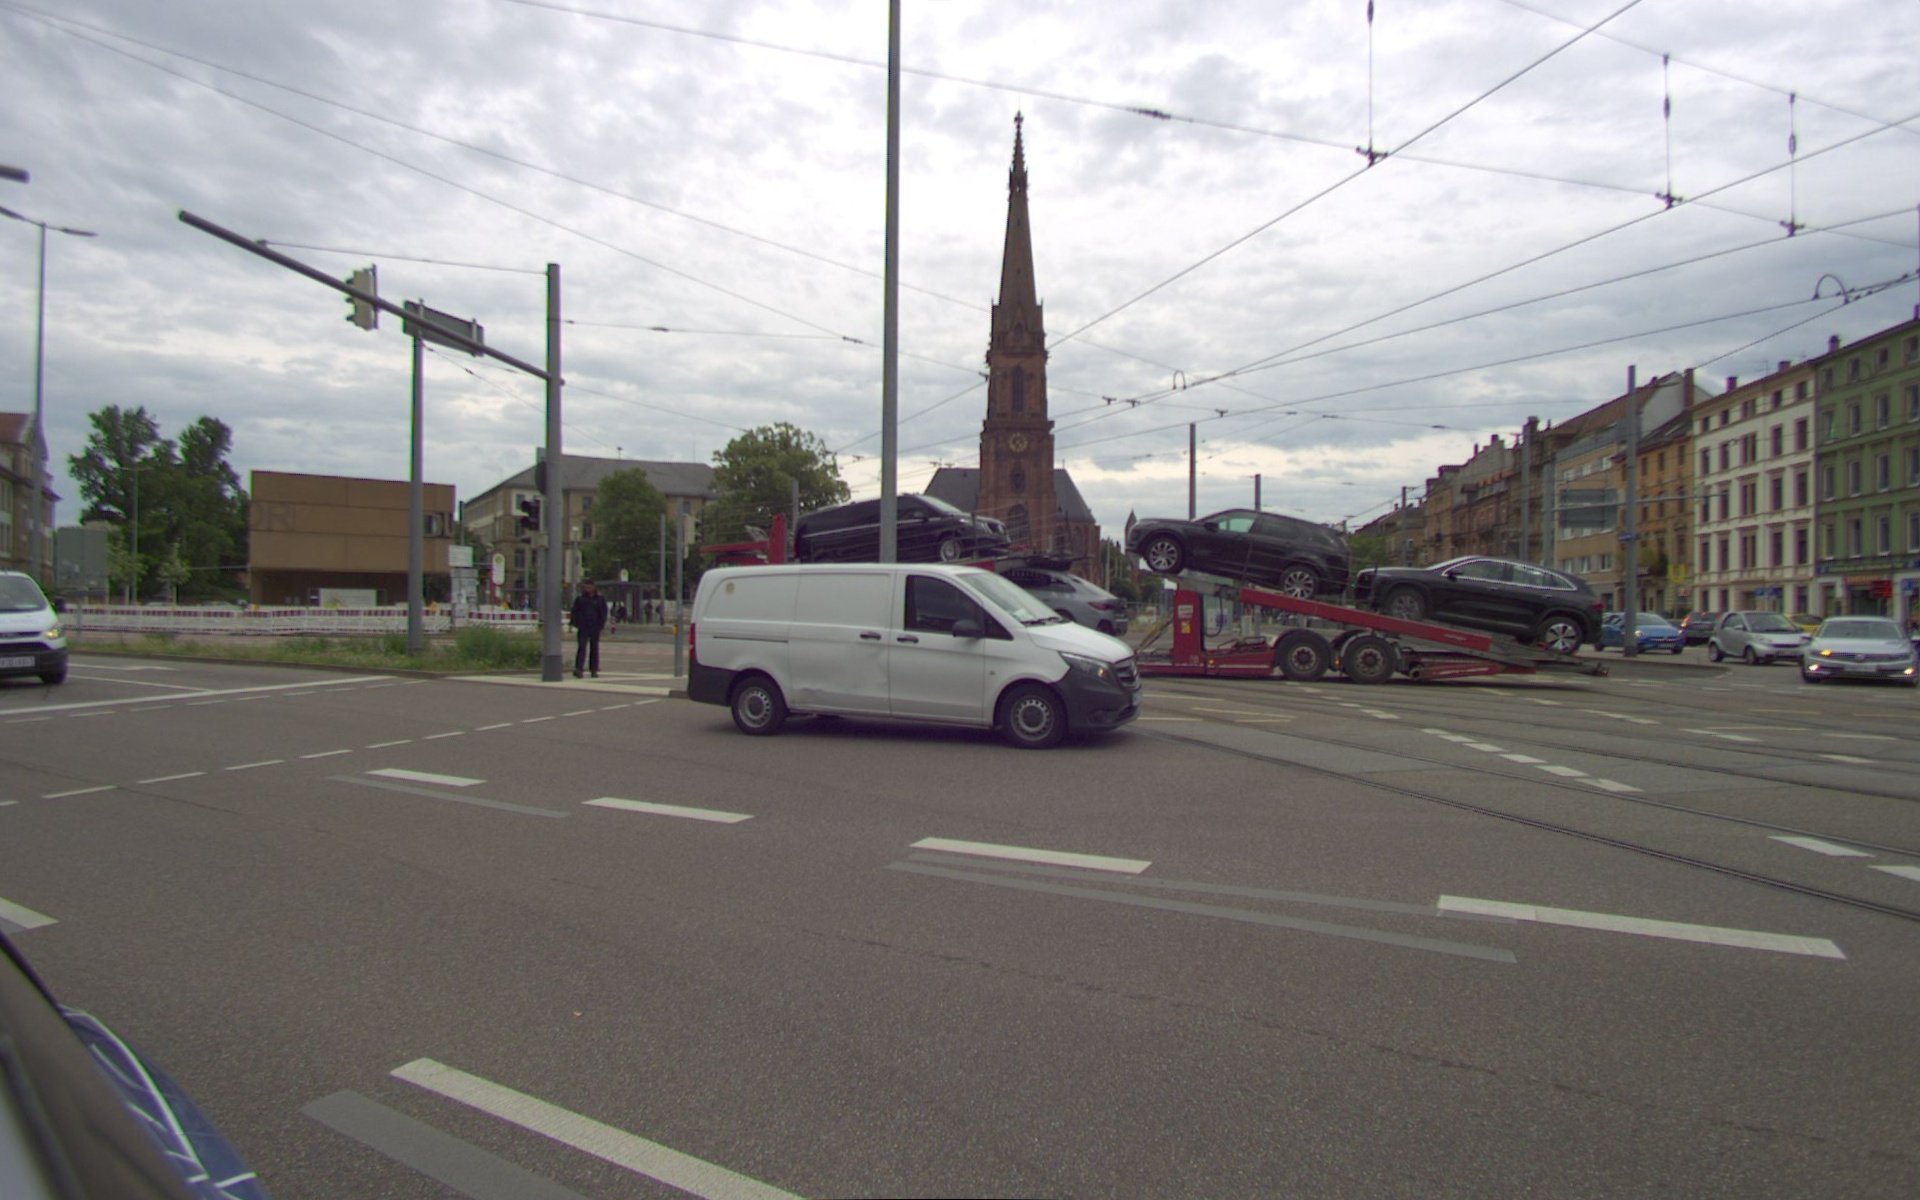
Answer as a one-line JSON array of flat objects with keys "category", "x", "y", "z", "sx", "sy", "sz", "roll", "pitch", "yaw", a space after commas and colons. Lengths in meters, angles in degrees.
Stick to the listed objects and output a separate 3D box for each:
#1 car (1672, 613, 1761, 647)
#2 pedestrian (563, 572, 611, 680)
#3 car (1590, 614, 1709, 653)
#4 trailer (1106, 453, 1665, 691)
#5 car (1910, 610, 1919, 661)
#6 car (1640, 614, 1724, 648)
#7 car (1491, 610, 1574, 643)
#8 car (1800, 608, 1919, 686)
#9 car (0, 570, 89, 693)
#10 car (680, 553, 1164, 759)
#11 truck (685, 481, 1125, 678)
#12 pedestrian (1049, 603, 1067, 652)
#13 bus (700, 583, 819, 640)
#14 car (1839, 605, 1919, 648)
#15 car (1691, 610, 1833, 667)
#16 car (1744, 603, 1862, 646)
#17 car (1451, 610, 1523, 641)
[{"category": "car", "x": 36.784, "y": 1.430, "z": 49.328, "sx": 1.803, "sy": 1.506, "sz": 3.988, "roll": 0, "pitch": 0, "yaw": 9}, {"category": "pedestrian", "x": -6.987, "y": 0.472, "z": 18.935, "sx": 0.767, "sy": 1.958, "sz": 0.985, "roll": 1, "pitch": -1, "yaw": -24}, {"category": "car", "x": 24.732, "y": 1.169, "z": 36.492, "sx": 1.977, "sy": 1.320, "sz": 3.989, "roll": 0, "pitch": -1, "yaw": 9}, {"category": "trailer", "x": 7.841, "y": -0.476, "z": 19.997, "sx": 9.479, "sy": 4.003, "sz": 2.978, "roll": 0, "pitch": 0, "yaw": 19}, {"category": "car", "x": 28.532, "y": 1.019, "z": 27.815, "sx": 1.758, "sy": 1.479, "sz": 3.982, "roll": 0, "pitch": -1, "yaw": 14}, {"category": "car", "x": 34.268, "y": 1.441, "z": 48.161, "sx": 1.804, "sy": 1.506, "sz": 3.985, "roll": 0, "pitch": 0, "yaw": 12}, {"category": "car", "x": 26.188, "y": 1.197, "z": 46.449, "sx": 1.977, "sy": 1.453, "sz": 3.989, "roll": 0, "pitch": -1, "yaw": 9}, {"category": "car", "x": 19.781, "y": 0.945, "z": 21.670, "sx": 4.605, "sy": 1.504, "sz": 2.003, "roll": 1, "pitch": -1, "yaw": -40}, {"category": "car", "x": -17.197, "y": 0.500, "z": 17.249, "sx": 4.500, "sy": 1.956, "sz": 1.982, "roll": 0, "pitch": -1, "yaw": 26}, {"category": "car", "x": -0.449, "y": 0.493, "z": 11.197, "sx": 5.056, "sy": 1.896, "sz": 1.909, "roll": 0, "pitch": 1, "yaw": 23}, {"category": "truck", "x": -1.535, "y": -0.422, "z": 24.015, "sx": 10.404, "sy": 3.949, "sz": 2.988, "roll": 0, "pitch": 0, "yaw": 27}, {"category": "pedestrian", "x": 3.295, "y": 0.922, "z": 33.941, "sx": 0.478, "sy": 1.623, "sz": 0.422, "roll": 0, "pitch": -1, "yaw": 26}, {"category": "bus", "x": -12.204, "y": 0.597, "z": 60.271, "sx": 2.816, "sy": 3.100, "sz": 12.055, "roll": 0, "pitch": 0, "yaw": -32}, {"category": "car", "x": 40.261, "y": 1.103, "z": 43.630, "sx": 3.930, "sy": 1.768, "sz": 2.088, "roll": 0, "pitch": 0, "yaw": -23}, {"category": "car", "x": 23.126, "y": 1.053, "z": 29.366, "sx": 1.982, "sy": 1.504, "sz": 3.602, "roll": 0, "pitch": 0, "yaw": 16}, {"category": "car", "x": 31.605, "y": 0.879, "z": 38.095, "sx": 1.806, "sy": 1.506, "sz": 3.983, "roll": 0, "pitch": 0, "yaw": 13}, {"category": "car", "x": 26.930, "y": 1.267, "z": 51.821, "sx": 1.976, "sy": 1.541, "sz": 3.991, "roll": 0, "pitch": -1, "yaw": 7}]
